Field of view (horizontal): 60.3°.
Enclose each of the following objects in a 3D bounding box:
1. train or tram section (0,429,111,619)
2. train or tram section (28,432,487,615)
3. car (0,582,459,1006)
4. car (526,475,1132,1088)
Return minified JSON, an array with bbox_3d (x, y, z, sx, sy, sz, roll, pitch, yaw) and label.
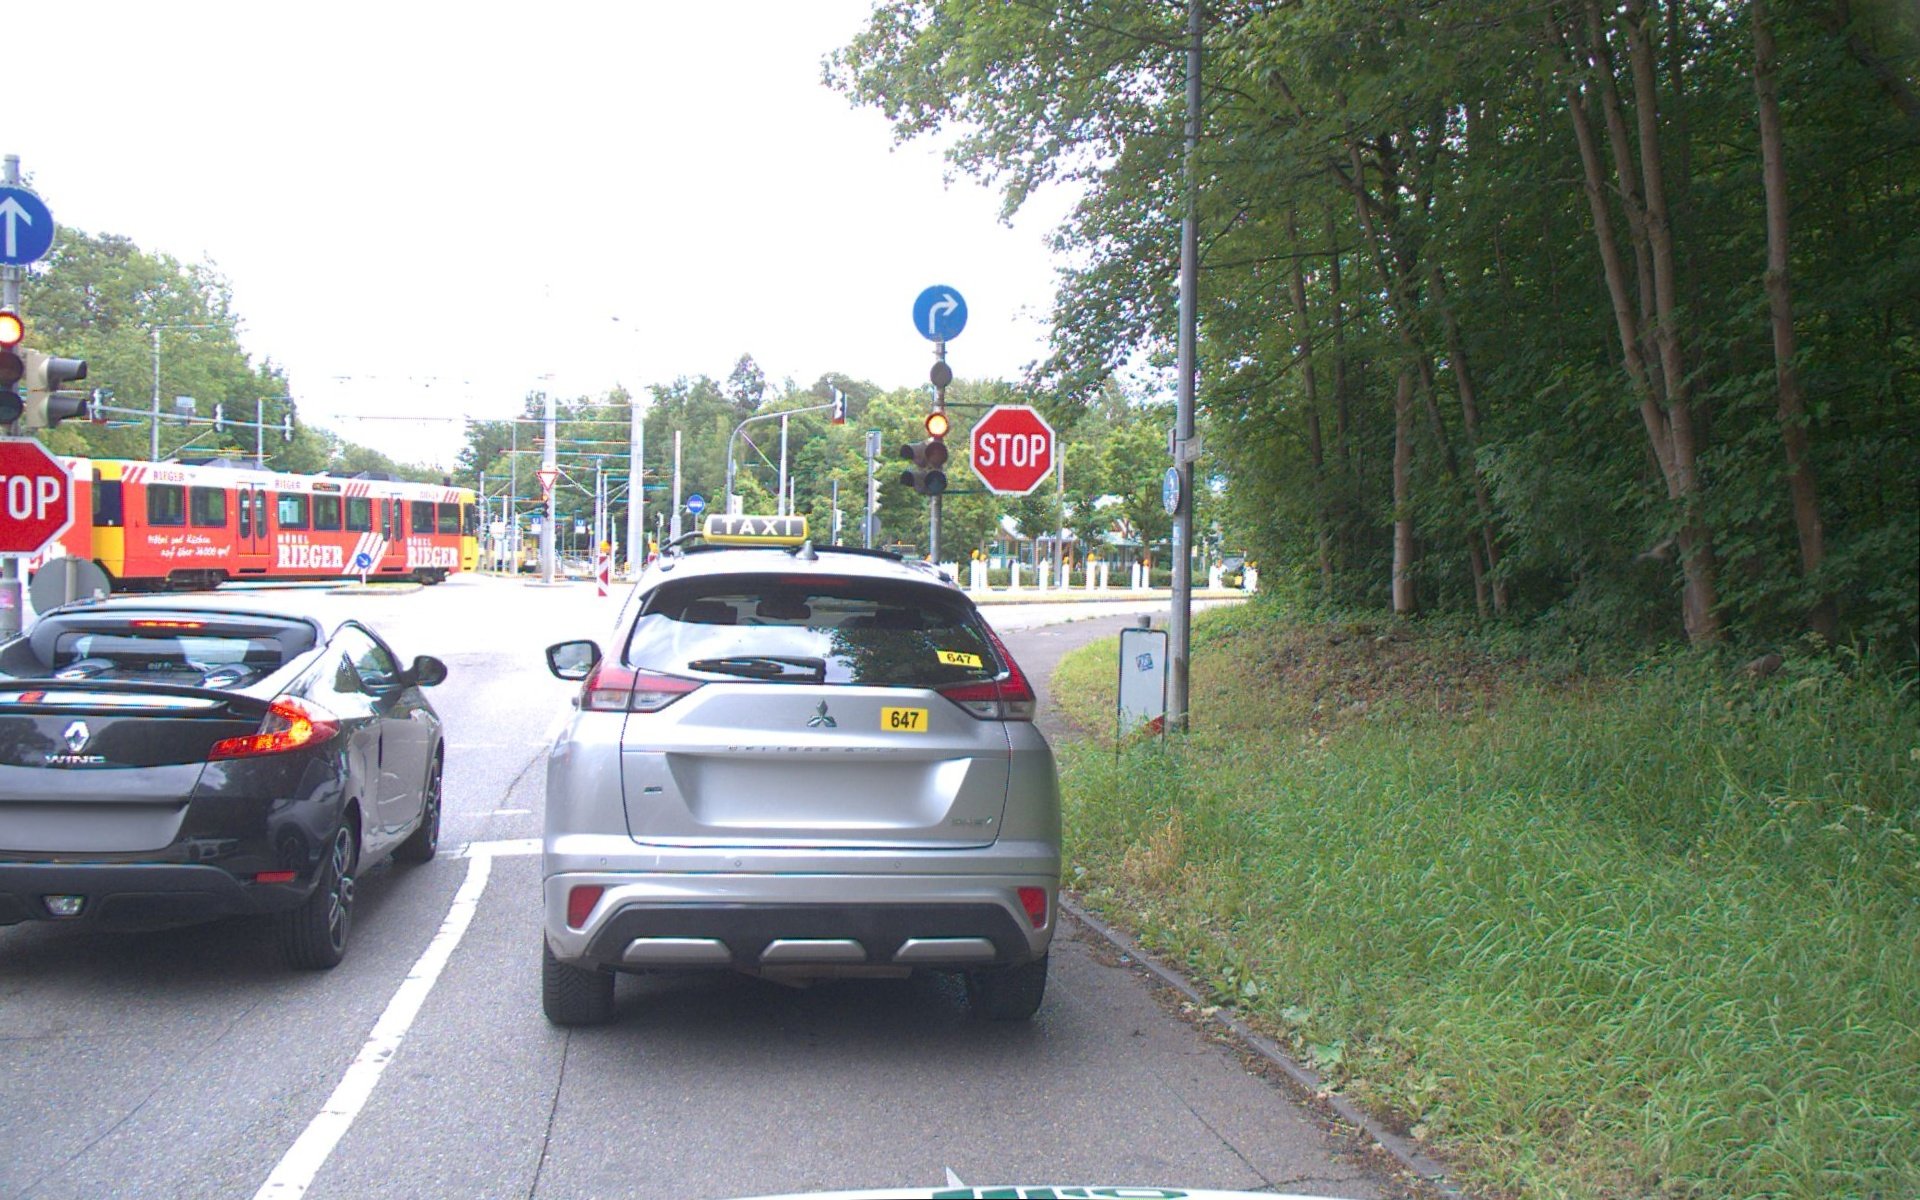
[{"bbox_3d":[-26.394,-1.882,33.937,2.895,4.496,18.729,1,0,21],"label":"train or tram section"},{"bbox_3d":[-20.929,-1.925,52.141,2.884,4.732,18.560,1,0,13],"label":"train or tram section"},{"bbox_3d":[-3.307,0.632,7.291,1.742,1.385,3.467,0,1,-11],"label":"car"},{"bbox_3d":[-0.657,0.522,6.801,1.741,1.778,3.773,2,1,-9],"label":"car"}]
